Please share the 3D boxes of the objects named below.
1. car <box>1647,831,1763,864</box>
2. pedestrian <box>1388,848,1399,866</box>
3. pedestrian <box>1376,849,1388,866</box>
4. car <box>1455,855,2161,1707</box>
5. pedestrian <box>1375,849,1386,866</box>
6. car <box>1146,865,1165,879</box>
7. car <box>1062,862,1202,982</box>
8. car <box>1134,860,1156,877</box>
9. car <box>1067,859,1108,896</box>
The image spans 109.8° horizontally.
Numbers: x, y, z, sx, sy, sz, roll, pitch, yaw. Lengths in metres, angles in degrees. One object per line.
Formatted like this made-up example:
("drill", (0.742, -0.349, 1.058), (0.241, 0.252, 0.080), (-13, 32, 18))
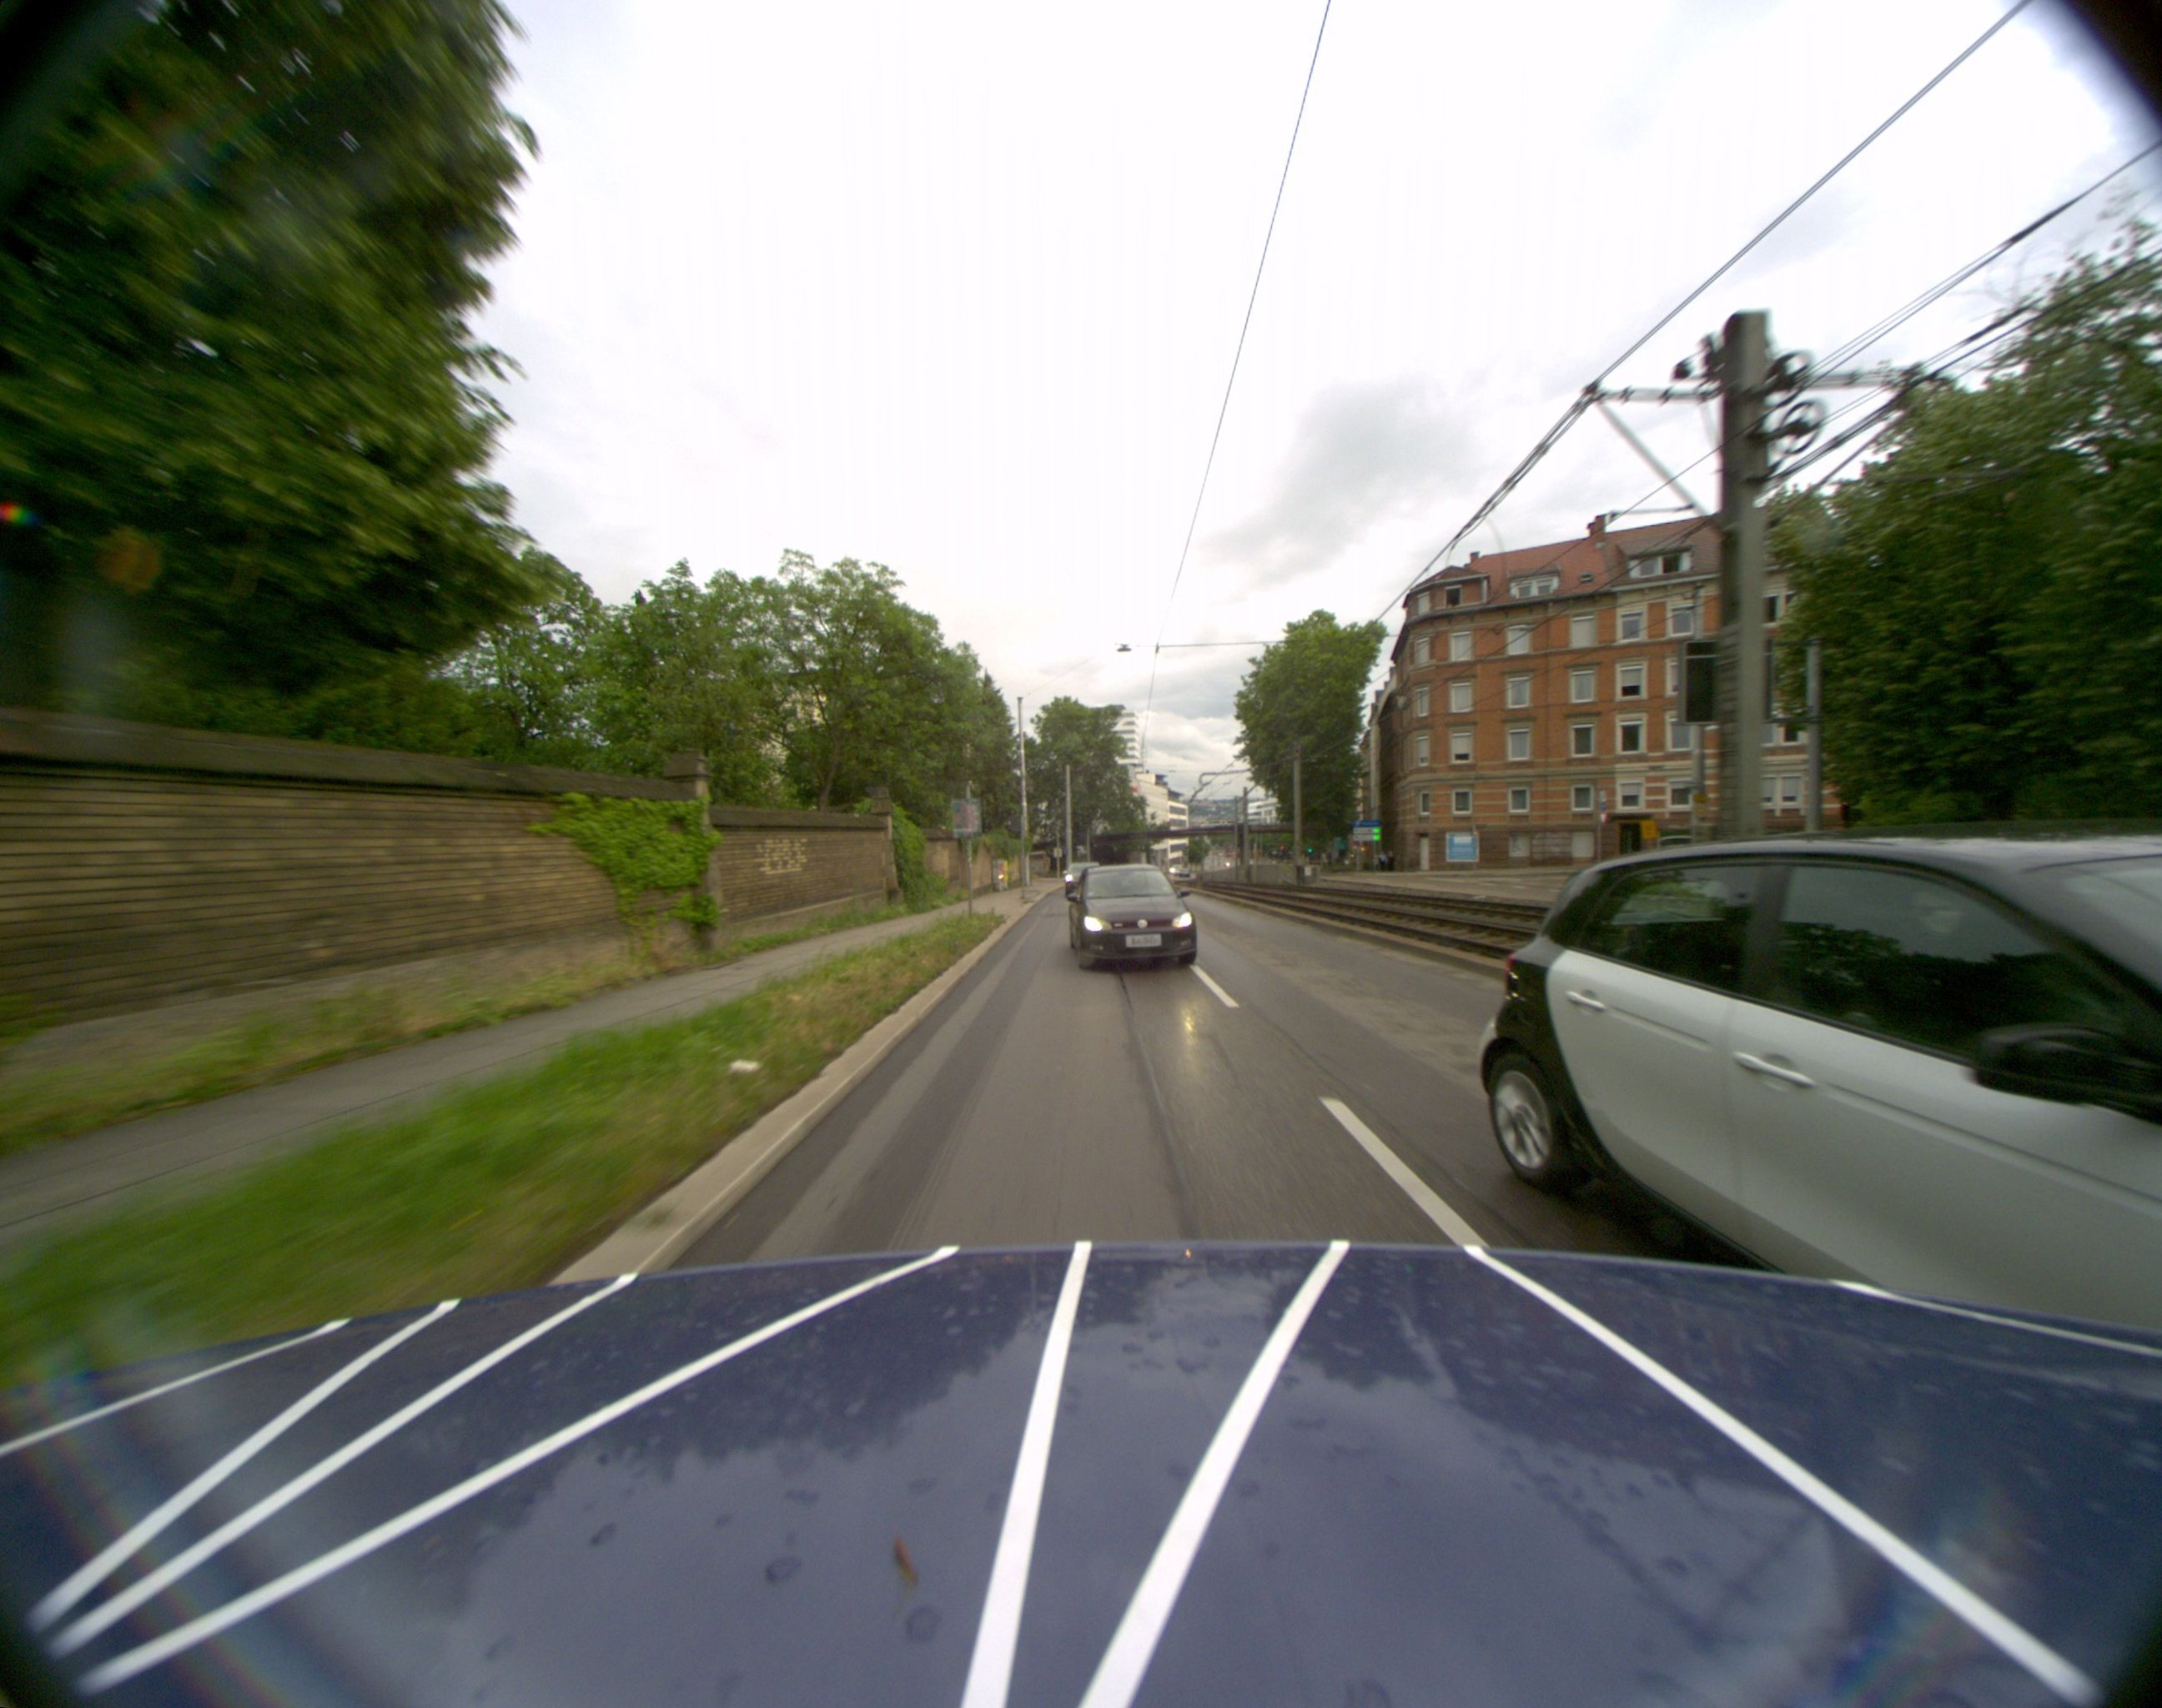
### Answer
("car", (33.321, -0.324, 40.728), (4.428, 1.588, 1.844), (-2, 0, 23))
("pedestrian", (24.527, 0.242, 59.658), (0.619, 1.346, 0.538), (-2, 1, 2))
("pedestrian", (23.887, 0.266, 60.290), (0.620, 1.346, 0.538), (-3, 1, 1))
("car", (2.680, 0.779, 1.920), (1.680, 1.522, 3.722), (-1, 0, 1))
("pedestrian", (23.538, 0.268, 59.730), (0.620, 1.346, 0.538), (-3, 1, 1))
("car", (8.263, 2.019, 84.338), (1.734, 1.368, 4.003), (-3, 0, 10))
("car", (0.624, 0.914, 11.991), (1.799, 1.477, 3.964), (-2, 0, -1))
("car", (5.815, 1.274, 68.874), (1.639, 1.368, 3.576), (-2, 1, 9))
("car", (0.349, 0.992, 33.367), (1.657, 1.483, 3.830), (-1, 0, 2))
